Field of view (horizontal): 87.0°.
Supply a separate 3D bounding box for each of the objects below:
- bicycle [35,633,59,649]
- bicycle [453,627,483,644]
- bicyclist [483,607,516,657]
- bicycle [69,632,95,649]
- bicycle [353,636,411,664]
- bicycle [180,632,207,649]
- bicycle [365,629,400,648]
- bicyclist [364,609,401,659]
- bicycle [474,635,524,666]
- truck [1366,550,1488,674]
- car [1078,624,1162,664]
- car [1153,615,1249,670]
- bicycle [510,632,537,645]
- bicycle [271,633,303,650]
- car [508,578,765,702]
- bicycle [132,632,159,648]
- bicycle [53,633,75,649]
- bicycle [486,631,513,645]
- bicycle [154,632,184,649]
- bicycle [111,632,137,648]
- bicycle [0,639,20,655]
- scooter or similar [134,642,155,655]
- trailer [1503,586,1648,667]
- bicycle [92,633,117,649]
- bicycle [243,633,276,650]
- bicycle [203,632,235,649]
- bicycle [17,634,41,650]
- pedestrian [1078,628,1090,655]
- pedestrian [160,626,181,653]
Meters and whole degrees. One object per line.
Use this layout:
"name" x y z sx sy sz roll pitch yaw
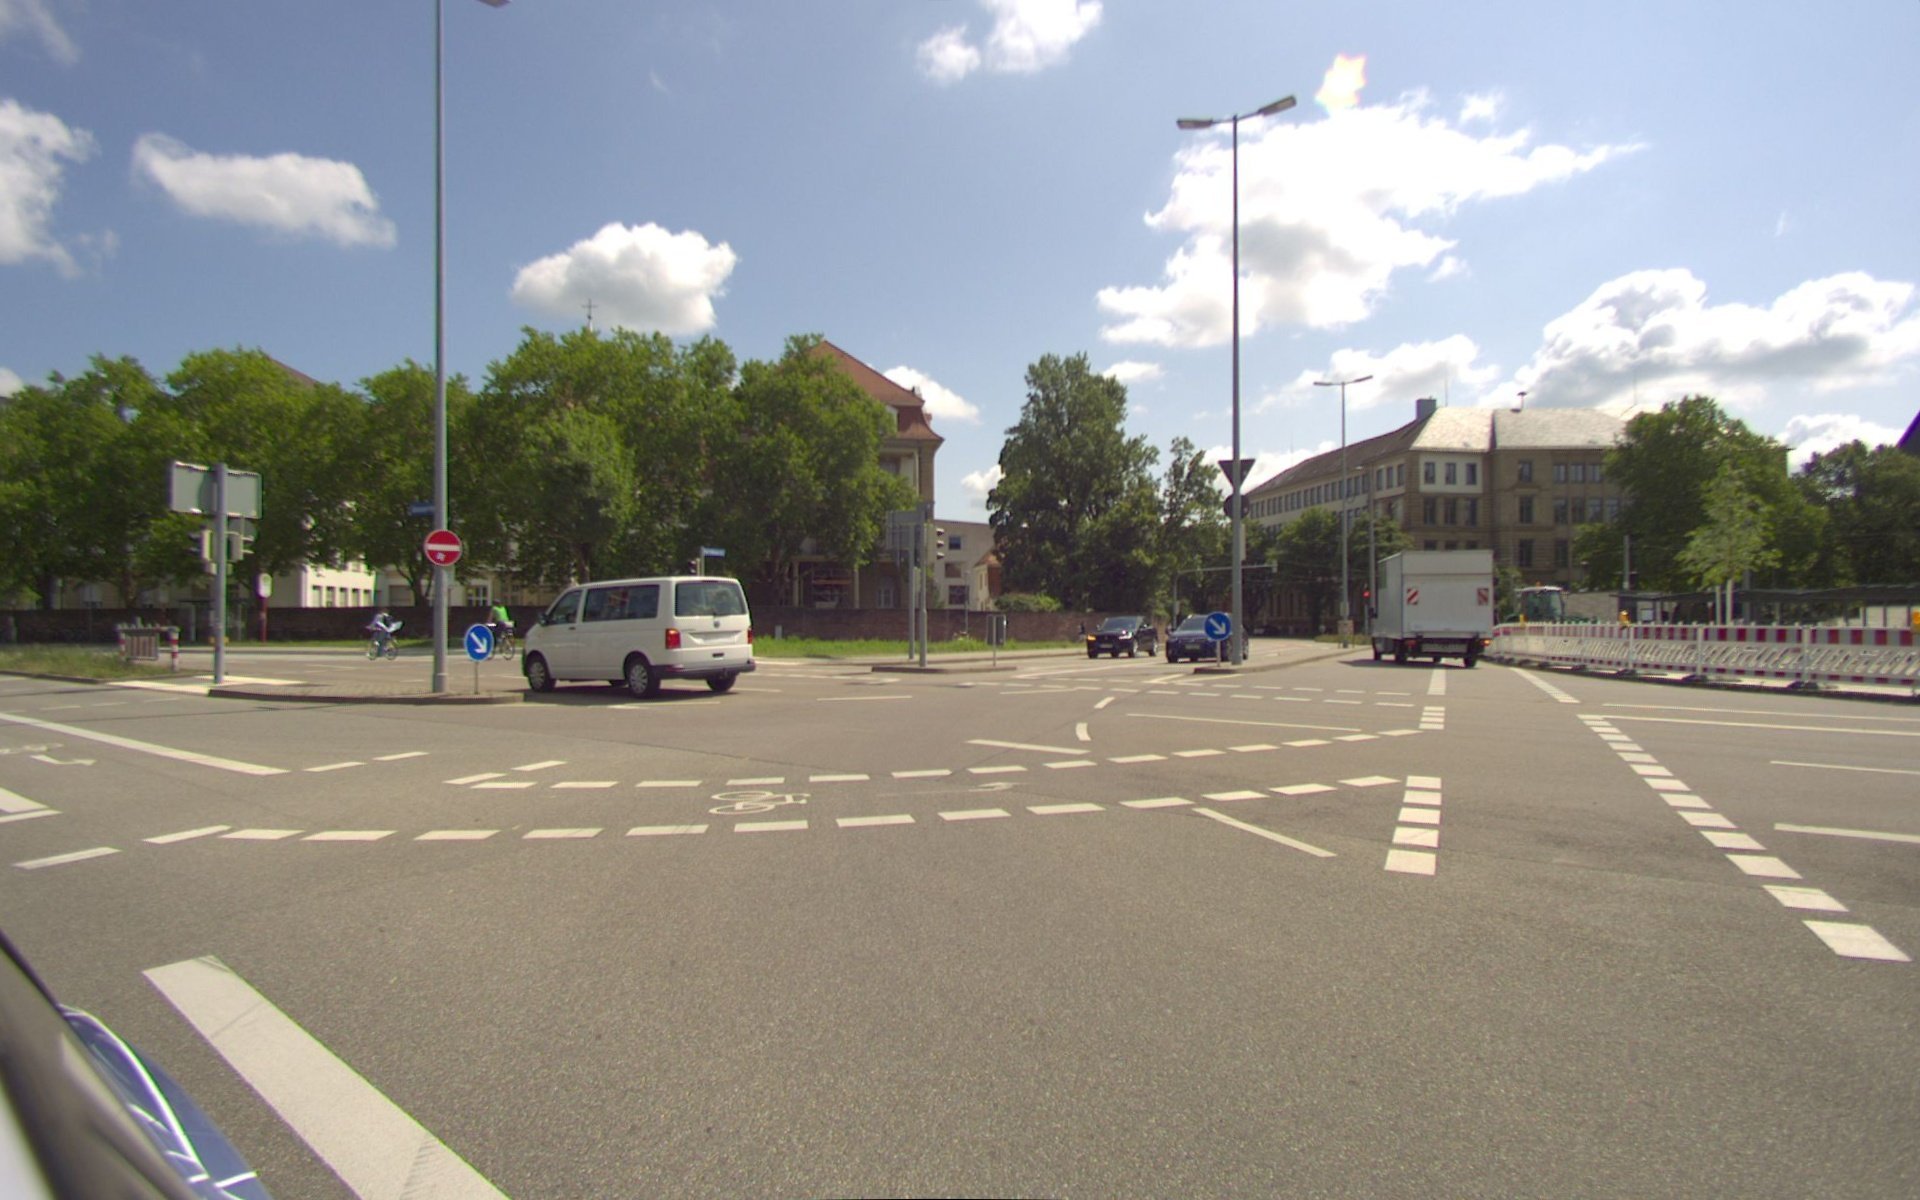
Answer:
"bicycle" -60.982 2.759 67.620 1.656 1.051 0.380 -1 -2 17
"bicycle" -30.161 2.179 62.089 1.664 1.038 0.398 0 -2 2
"bicyclist" -13.618 0.944 29.930 0.835 1.473 0.560 -2 -3 36
"bicycle" -57.919 2.669 66.747 1.745 1.051 0.396 -1 -2 15
"bicycle" -19.067 1.637 33.388 2.101 0.896 0.770 -2 -2 32
"bicycle" -48.881 2.582 64.547 1.621 1.051 0.397 -1 -2 10
"bicycle" -35.696 2.354 62.552 2.013 1.146 0.397 -1 -2 5
"bicyclist" -19.058 1.130 33.400 0.840 1.631 0.770 -2 -3 32
"bicycle" -13.644 1.496 29.928 1.739 0.896 0.562 -2 -3 36
"truck" 13.150 0.322 29.001 1.982 3.091 7.293 -1 0 16
"car" 6.471 1.738 40.458 1.991 1.497 4.467 -2 -2 28
"car" 7.295 1.251 30.340 1.988 1.497 4.630 -1 -2 24
"bicycle" -26.730 2.370 62.014 1.523 0.795 0.398 0 -2 2
"bicycle" -42.017 2.584 63.190 1.936 1.051 0.397 -1 -2 10
"car" -5.755 0.699 17.721 4.861 1.909 1.864 -2 -2 37
"bicycle" -52.595 2.589 65.332 1.744 1.051 0.396 -1 -2 14
"bicycle" -59.485 2.723 67.165 1.403 1.051 0.375 -1 -2 15
"bicycle" -28.249 2.334 62.087 1.446 0.795 0.398 0 -2 2
"bicycle" -50.712 2.589 64.887 1.938 1.051 0.396 -1 -2 12
"bicycle" -54.343 2.604 65.787 1.745 1.011 0.396 -1 -2 15
"bicycle" -64.600 3.180 68.654 1.656 1.051 0.380 -1 -2 17
"scooter or similar" -51.965 3.107 64.508 1.056 0.800 0.353 -1 -2 4
"trailer" 23.575 0.955 38.960 1.965 2.936 4.380 0 0 -25
"bicycle" -56.005 2.658 66.235 1.569 1.051 0.396 -1 -2 15
"bicycle" -43.996 2.587 63.562 1.936 1.051 0.397 -1 -2 10
"bicycle" -47.026 2.551 64.213 1.936 1.051 0.397 -1 -2 10
"bicycle" -62.701 2.808 68.157 1.656 1.051 0.380 -1 -2 17
"pedestrian" 8.075 2.698 66.013 0.668 1.708 0.489 0 0 -10
"pedestrian" -49.147 2.462 63.004 0.770 1.623 0.723 0 -2 0
